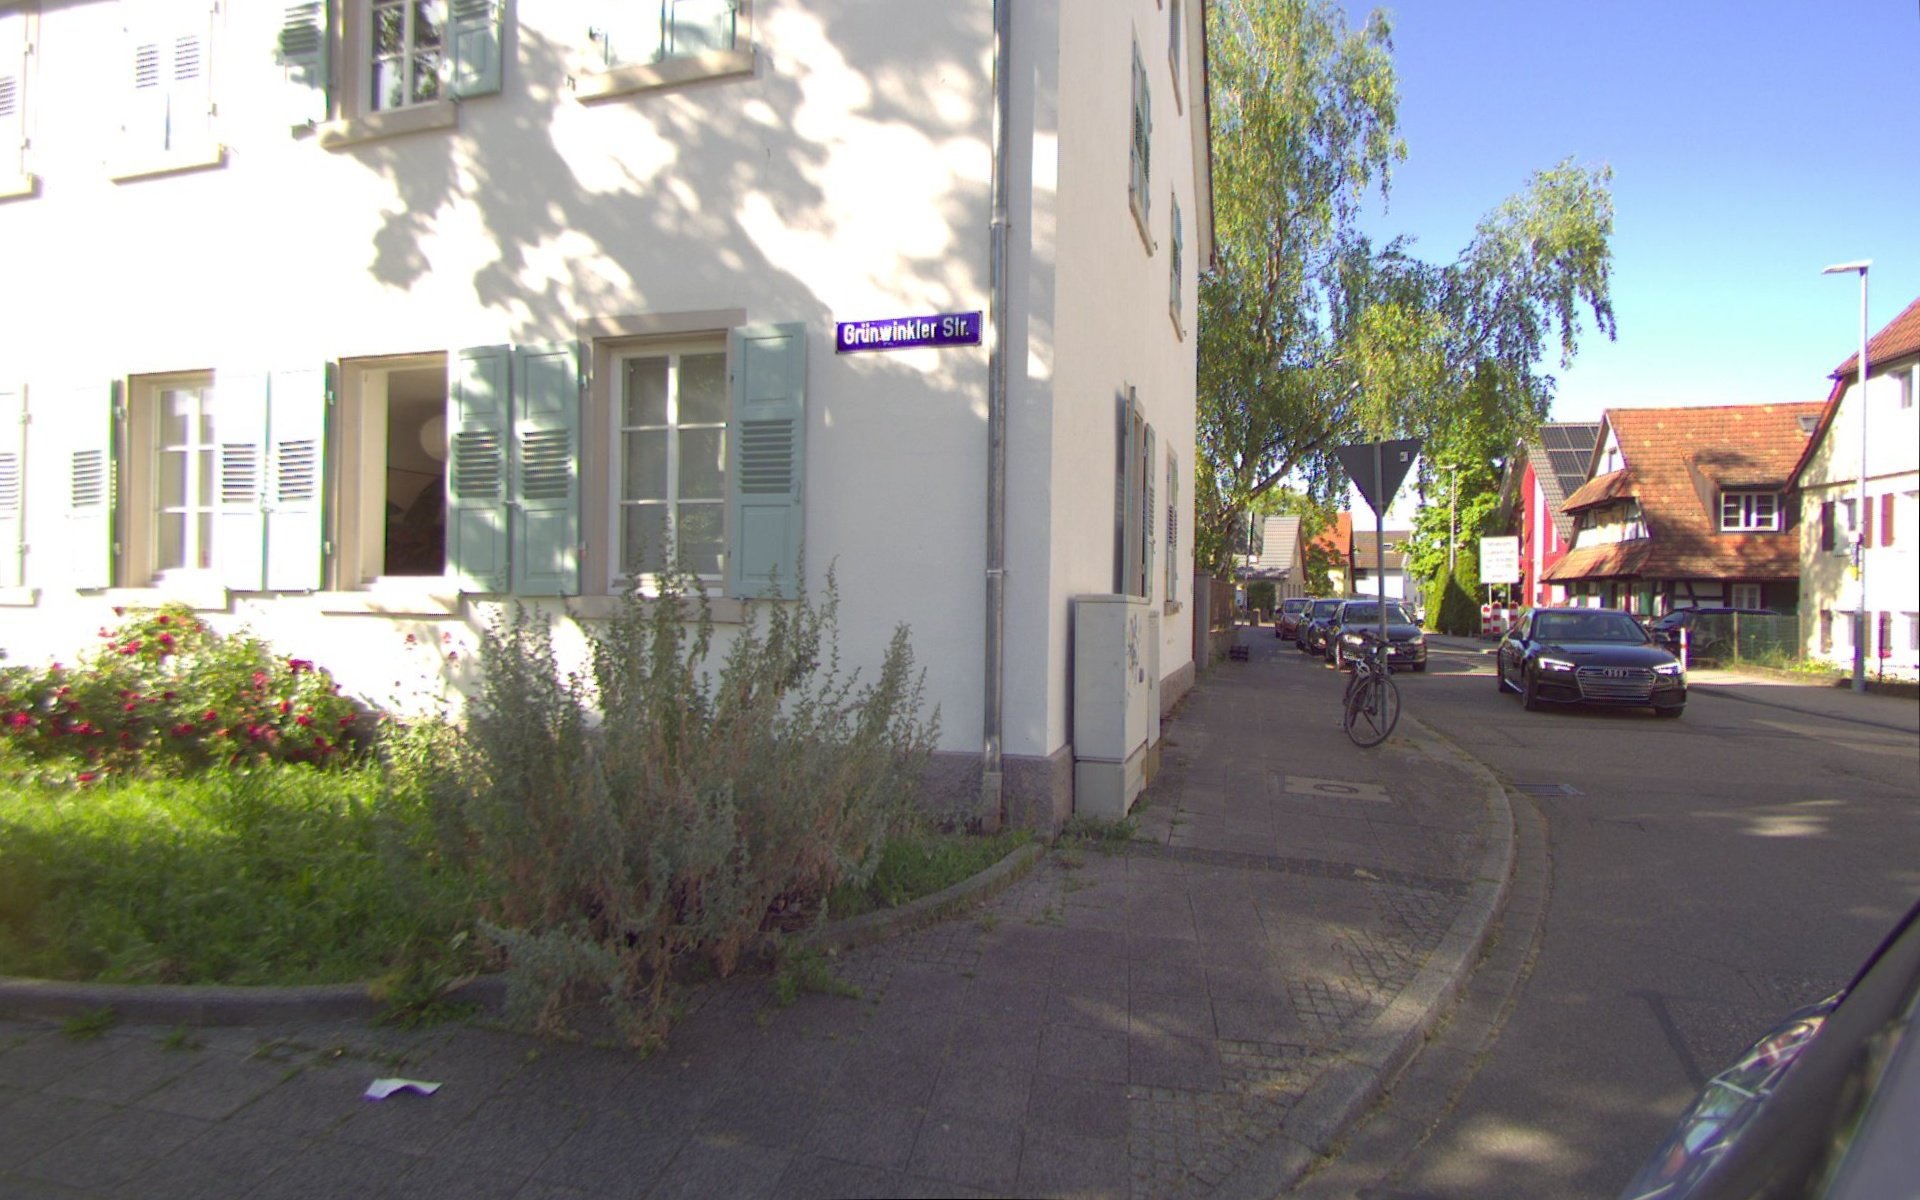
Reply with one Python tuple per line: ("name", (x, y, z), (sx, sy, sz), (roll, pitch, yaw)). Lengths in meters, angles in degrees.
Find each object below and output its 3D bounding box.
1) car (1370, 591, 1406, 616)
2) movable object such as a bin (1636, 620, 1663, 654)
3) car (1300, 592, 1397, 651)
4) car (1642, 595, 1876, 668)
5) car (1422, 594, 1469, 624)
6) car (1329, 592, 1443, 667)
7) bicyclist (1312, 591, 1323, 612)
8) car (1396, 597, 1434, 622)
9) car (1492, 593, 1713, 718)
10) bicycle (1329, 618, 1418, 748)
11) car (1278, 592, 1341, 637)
("car", (30.080, 0.231, 71.081), (1.822, 1.692, 4.307), (-1, 0, 30))
("movable object such as a bin", (19.344, 1.024, 28.410), (0.582, 0.909, 0.548), (4, 1, 35))
("car", (10.451, 0.546, 27.498), (1.785, 1.454, 4.269), (1, 0, 12))
("car", (19.814, 0.745, 25.286), (4.106, 1.480, 1.843), (3, 0, 10))
("car", (27.309, 0.510, 56.866), (1.810, 1.616, 4.391), (0, 0, 34))
("car", (9.269, 0.590, 22.323), (1.788, 1.454, 4.263), (1, 0, 16))
("bicyclist", (23.530, 0.072, 66.660), (0.577, 1.337, 0.603), (3, 0, 24))
("car", (36.224, 0.784, 80.504), (1.828, 1.811, 4.294), (5, 2, 36))
("car", (9.063, 0.673, 14.681), (1.786, 1.496, 4.315), (1, 0, 20))
("bicycle", (4.049, 0.764, 10.011), (0.429, 1.093, 1.884), (2, 1, 11))
("car", (12.350, 0.500, 35.995), (1.628, 1.497, 3.919), (1, 0, 12))
